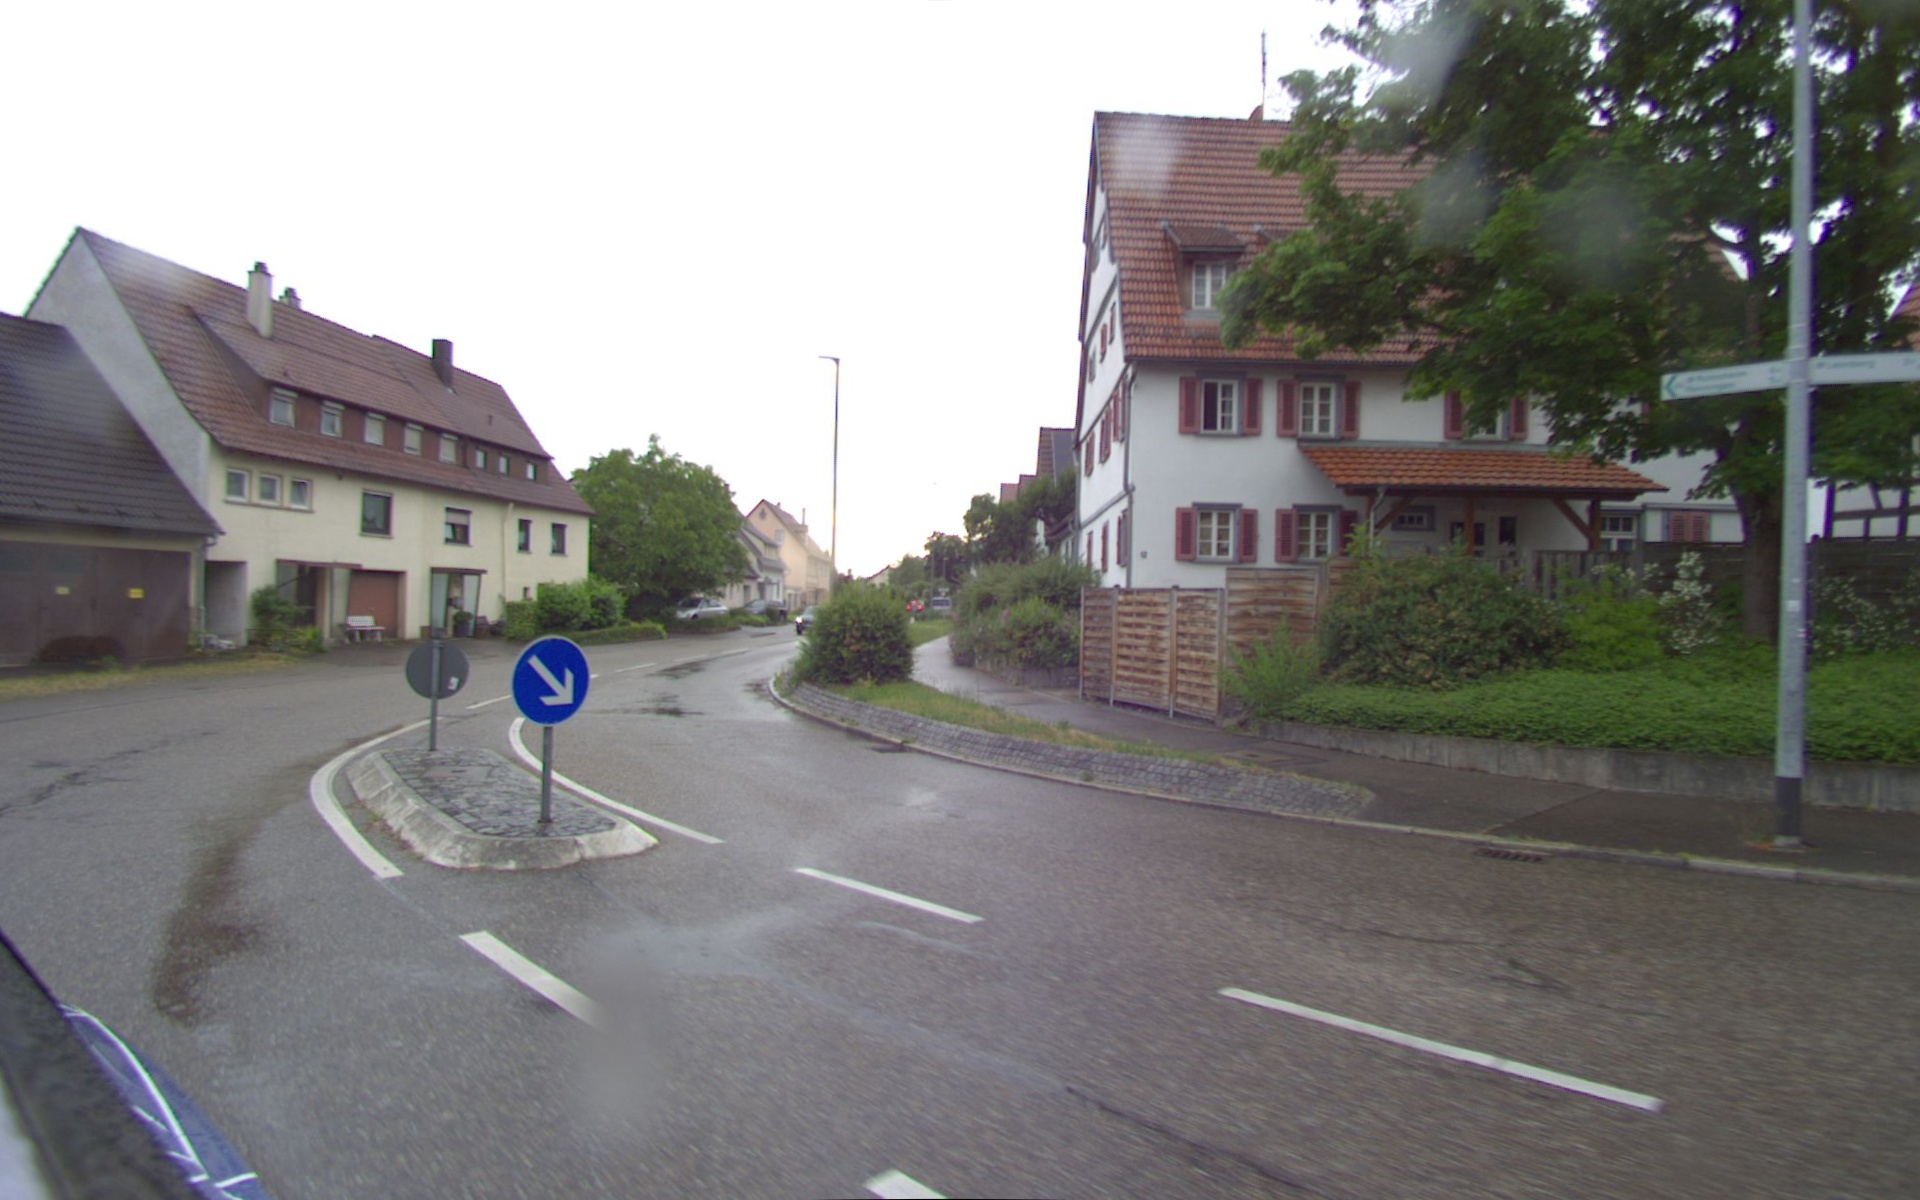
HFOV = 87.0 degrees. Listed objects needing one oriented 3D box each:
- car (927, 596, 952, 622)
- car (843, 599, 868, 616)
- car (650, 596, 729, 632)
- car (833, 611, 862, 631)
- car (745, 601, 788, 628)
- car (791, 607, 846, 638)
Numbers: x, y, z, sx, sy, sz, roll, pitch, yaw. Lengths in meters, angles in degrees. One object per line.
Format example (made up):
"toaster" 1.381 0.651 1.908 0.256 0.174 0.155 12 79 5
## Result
"car" -1.540 0.680 78.346 1.821 1.938 4.189 -1 0 0
"car" -9.866 0.715 95.708 1.972 1.541 4.000 0 0 -1
"car" -13.857 0.696 52.122 1.897 1.724 4.455 1 0 17
"car" -8.740 1.604 78.918 1.764 1.475 4.000 1 0 0
"car" -12.499 0.922 65.531 1.972 1.666 4.069 1 0 1
"car" -7.473 1.164 53.872 1.976 1.541 3.991 -1 0 7
